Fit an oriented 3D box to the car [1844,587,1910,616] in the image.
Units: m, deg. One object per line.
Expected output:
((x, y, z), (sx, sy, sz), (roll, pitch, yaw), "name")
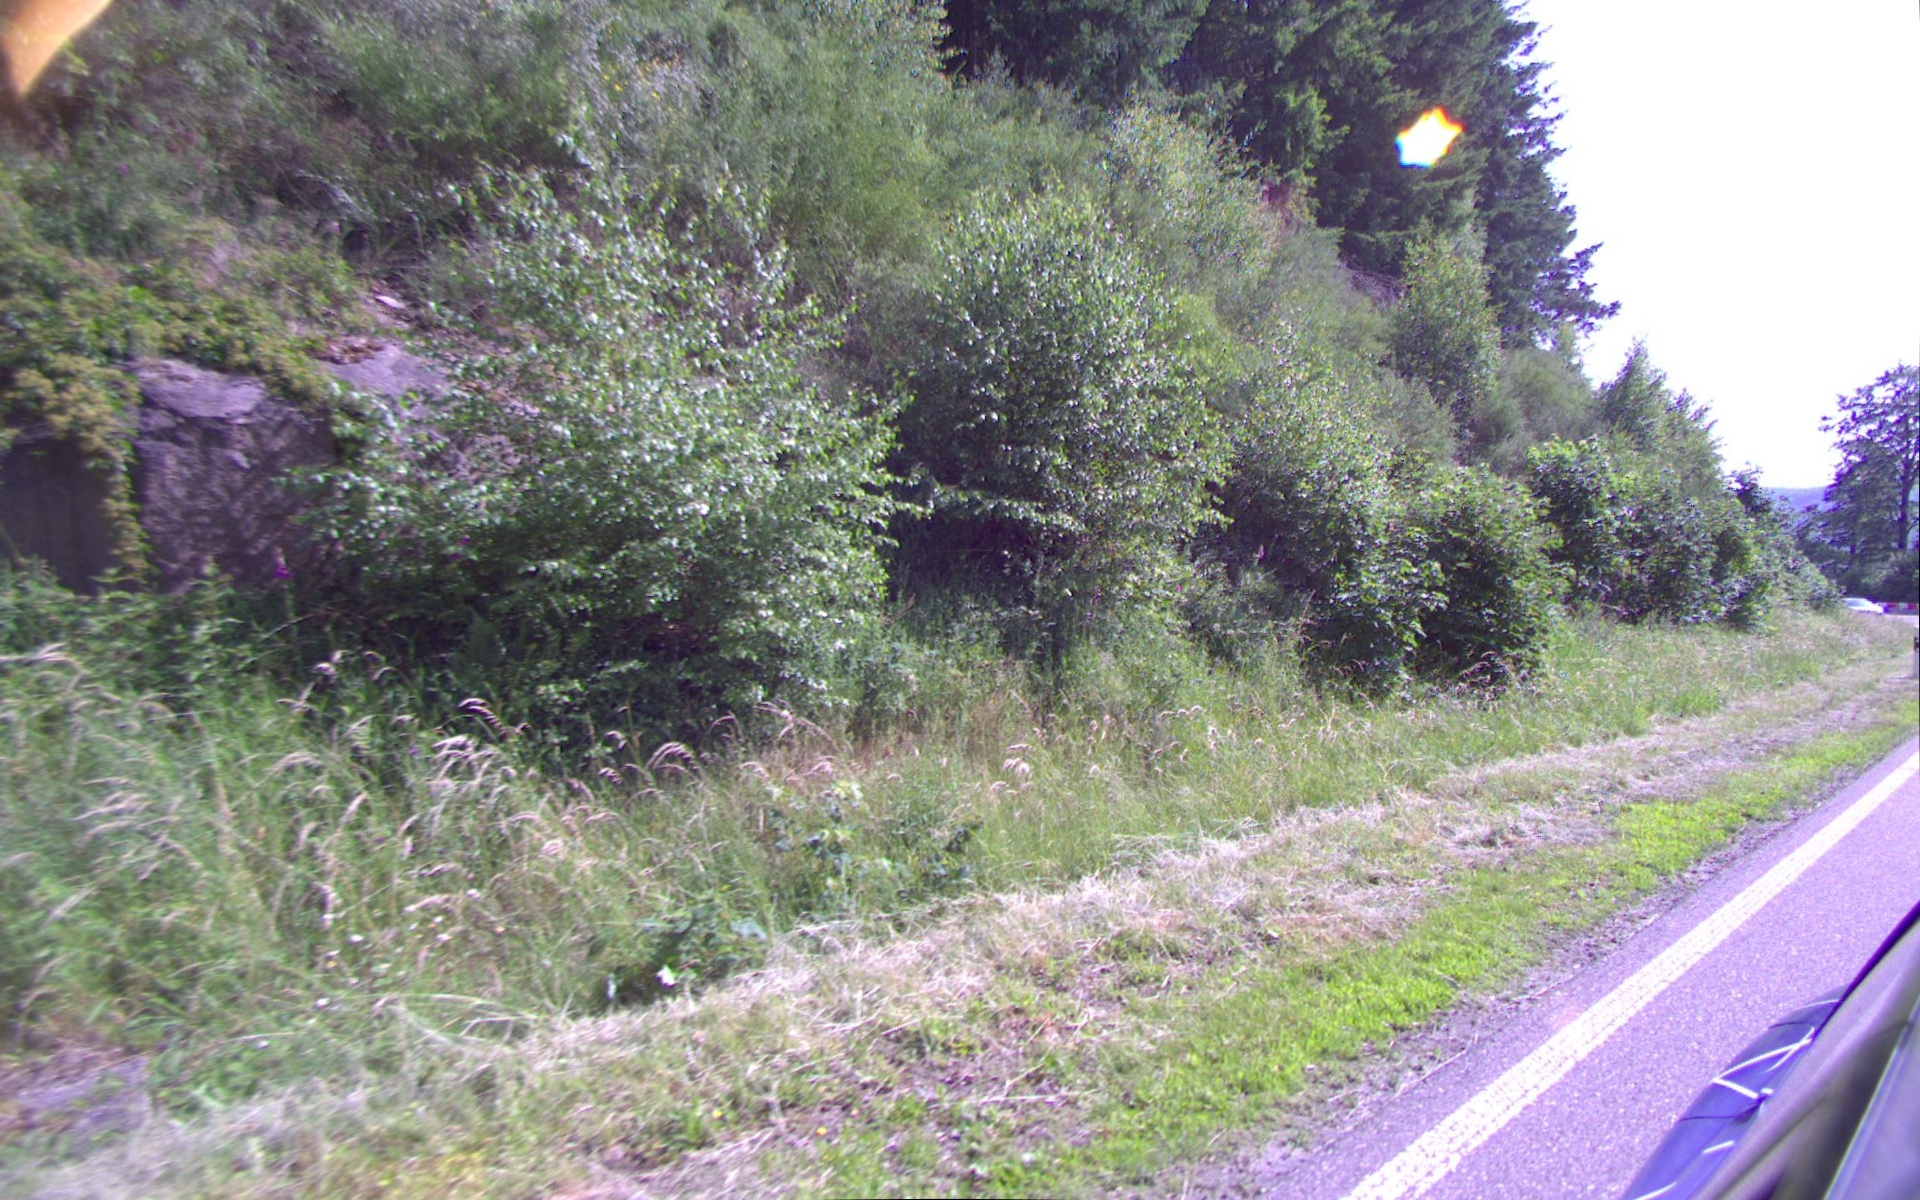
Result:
((57.027, 0.097, 63.016), (1.980, 1.750, 3.964), (0, 0, 26), "car")
